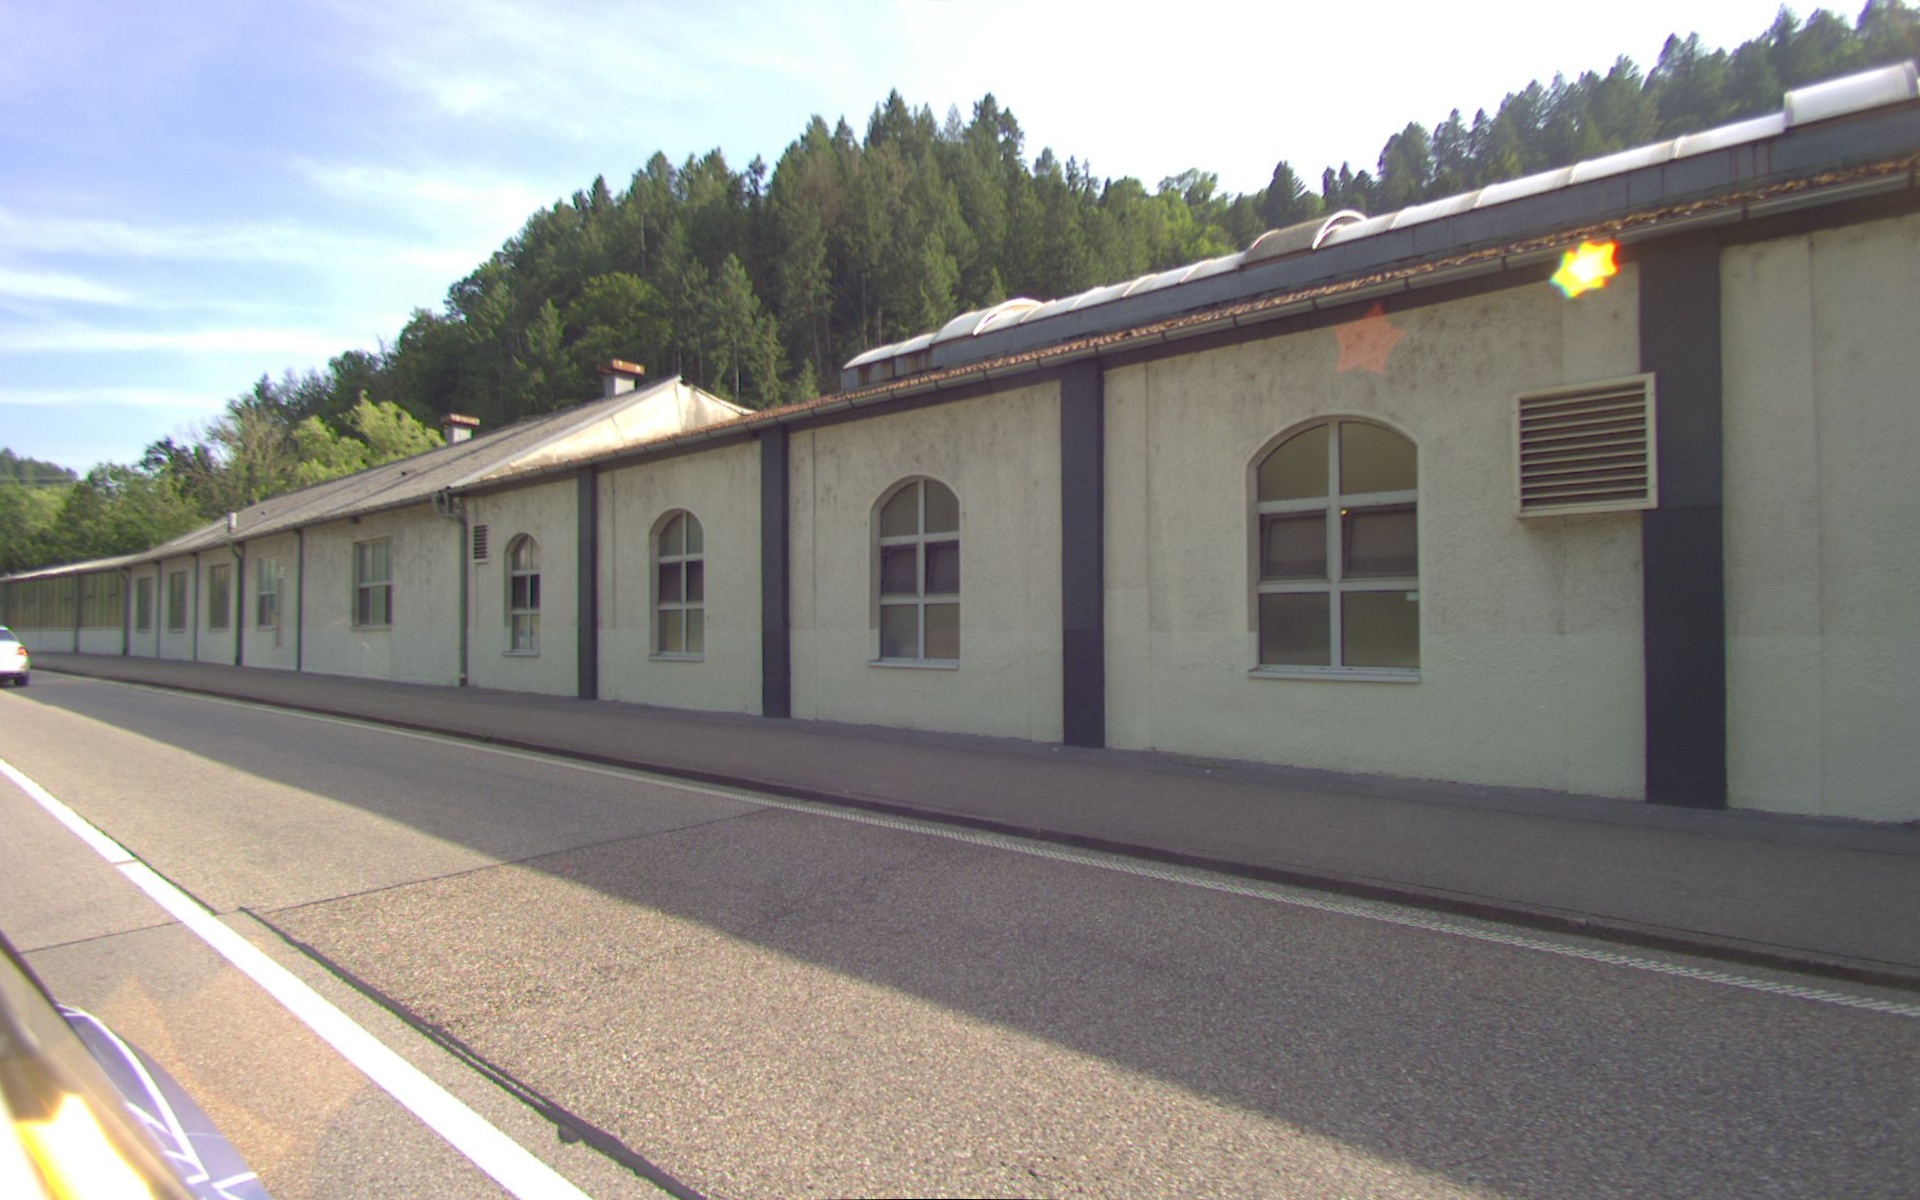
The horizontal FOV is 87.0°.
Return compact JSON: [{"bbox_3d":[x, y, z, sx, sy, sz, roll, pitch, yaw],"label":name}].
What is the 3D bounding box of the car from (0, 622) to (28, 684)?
[{"bbox_3d":[-23.572,1.246,23.969,4.106,1.403,1.722,-1,0,40],"label":"car"}]
